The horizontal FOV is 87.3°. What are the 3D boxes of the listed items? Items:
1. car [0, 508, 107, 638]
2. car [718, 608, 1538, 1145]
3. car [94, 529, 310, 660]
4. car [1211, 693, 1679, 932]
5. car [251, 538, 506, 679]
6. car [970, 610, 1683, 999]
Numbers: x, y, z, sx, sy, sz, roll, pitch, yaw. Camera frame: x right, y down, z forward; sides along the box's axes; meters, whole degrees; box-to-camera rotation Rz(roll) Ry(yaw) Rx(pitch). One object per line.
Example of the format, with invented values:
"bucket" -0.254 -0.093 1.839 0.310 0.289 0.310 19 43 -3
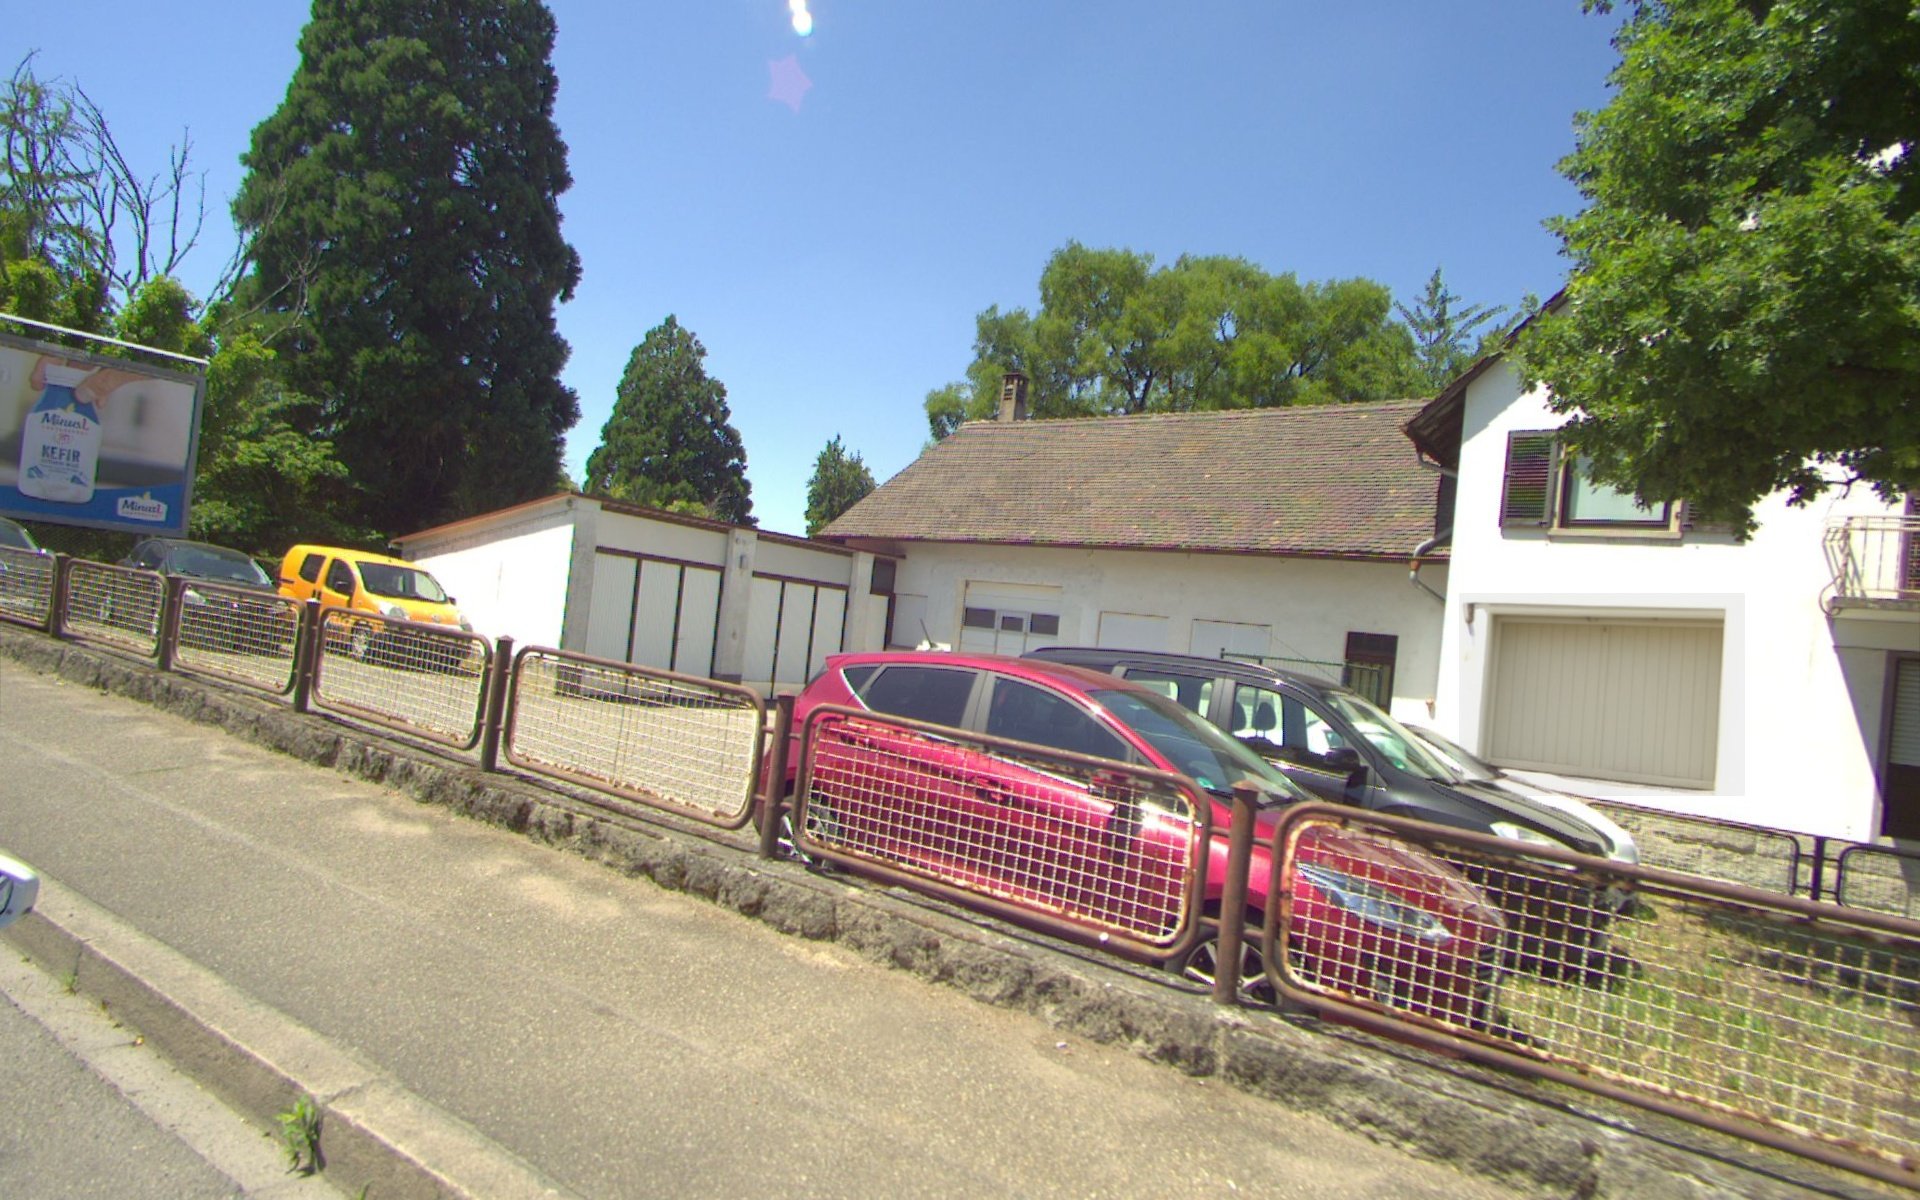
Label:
"car" -13.253 -0.516 13.328 3.495 1.474 1.638 6 -5 28
"car" 0.686 1.036 5.291 3.782 1.542 1.711 6 -1 38
"car" -11.767 -0.107 15.573 3.341 1.559 1.634 5 -5 37
"car" 4.226 1.726 8.998 3.338 1.285 1.710 5 -2 42
"car" -10.087 0.130 17.406 4.095 1.818 1.781 6 -5 29
"car" 2.357 1.171 7.277 4.399 1.684 1.710 5 -3 42
